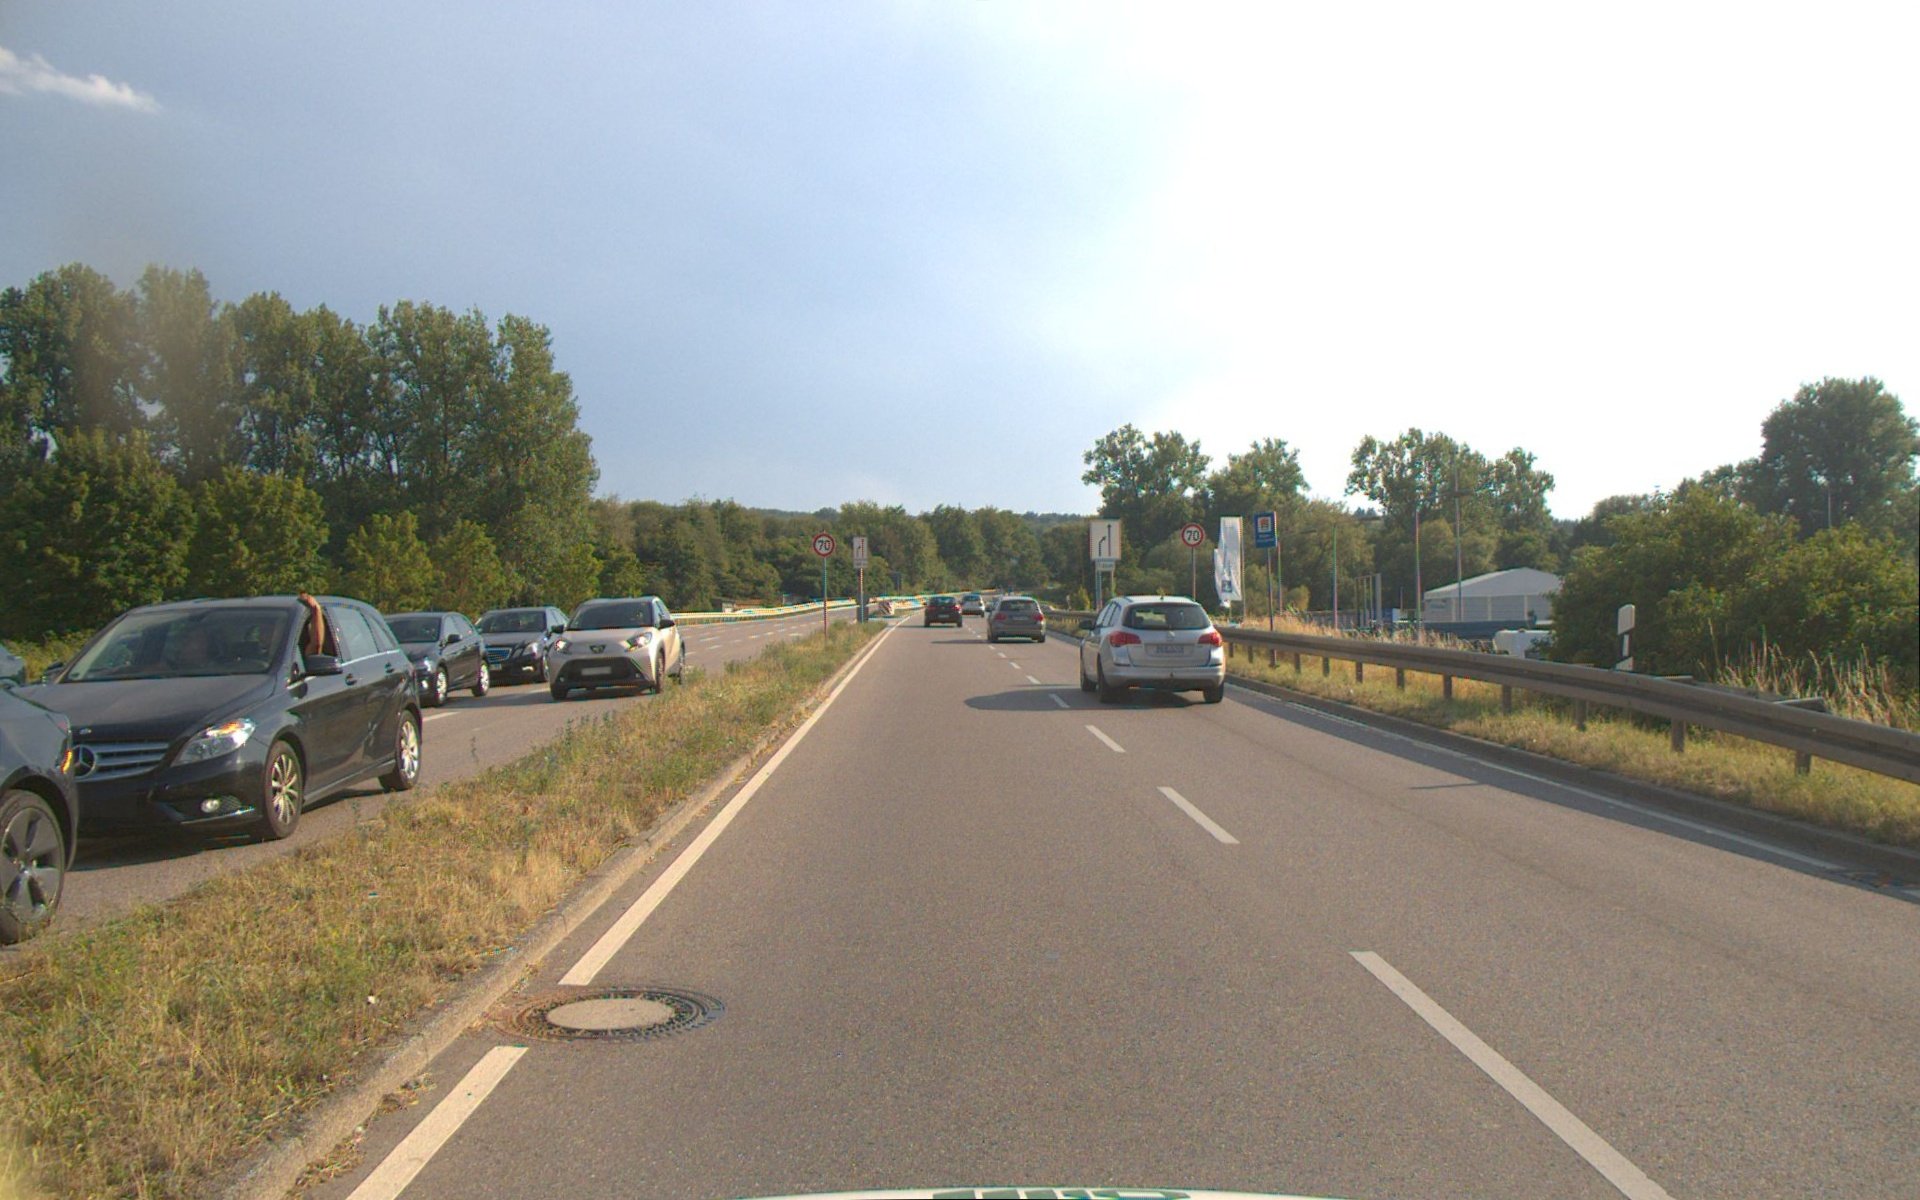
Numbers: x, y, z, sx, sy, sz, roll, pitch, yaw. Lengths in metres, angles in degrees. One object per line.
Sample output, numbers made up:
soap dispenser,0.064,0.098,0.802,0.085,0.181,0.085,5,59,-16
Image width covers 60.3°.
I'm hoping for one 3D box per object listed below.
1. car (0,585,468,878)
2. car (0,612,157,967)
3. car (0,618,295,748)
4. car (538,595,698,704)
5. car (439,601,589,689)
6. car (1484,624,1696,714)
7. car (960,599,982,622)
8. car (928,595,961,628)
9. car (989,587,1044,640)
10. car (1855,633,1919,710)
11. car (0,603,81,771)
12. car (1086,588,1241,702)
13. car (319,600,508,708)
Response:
car,-5.040,0.736,11.726,1.744,1.564,4.571,-2,1,-1
car,-4.890,0.802,5.935,1.754,1.492,4.927,-1,-1,-2
car,-10.082,0.941,20.630,1.667,1.306,4.817,-2,0,-1
car,-5.431,0.769,26.769,1.744,1.546,3.999,-2,-1,-1
car,-8.701,0.823,32.672,1.680,1.489,4.725,-3,0,-1
car,13.536,1.461,35.711,3.904,1.848,1.835,1,-1,1
car,0.738,0.715,109.045,1.462,1.502,3.358,1,-1,1
car,-0.691,0.543,76.176,1.462,1.502,3.358,1,-1,1
car,1.774,0.448,52.930,1.633,1.601,4.000,1,-1,1
car,25.870,1.899,44.004,1.718,1.986,4.829,1,-1,3
car,-8.987,0.749,12.834,1.667,1.430,5.080,-2,-1,-1
car,2.904,0.639,24.339,1.772,1.512,3.999,1,-1,0
car,-8.647,0.809,26.539,1.668,1.499,4.243,-3,0,-2
